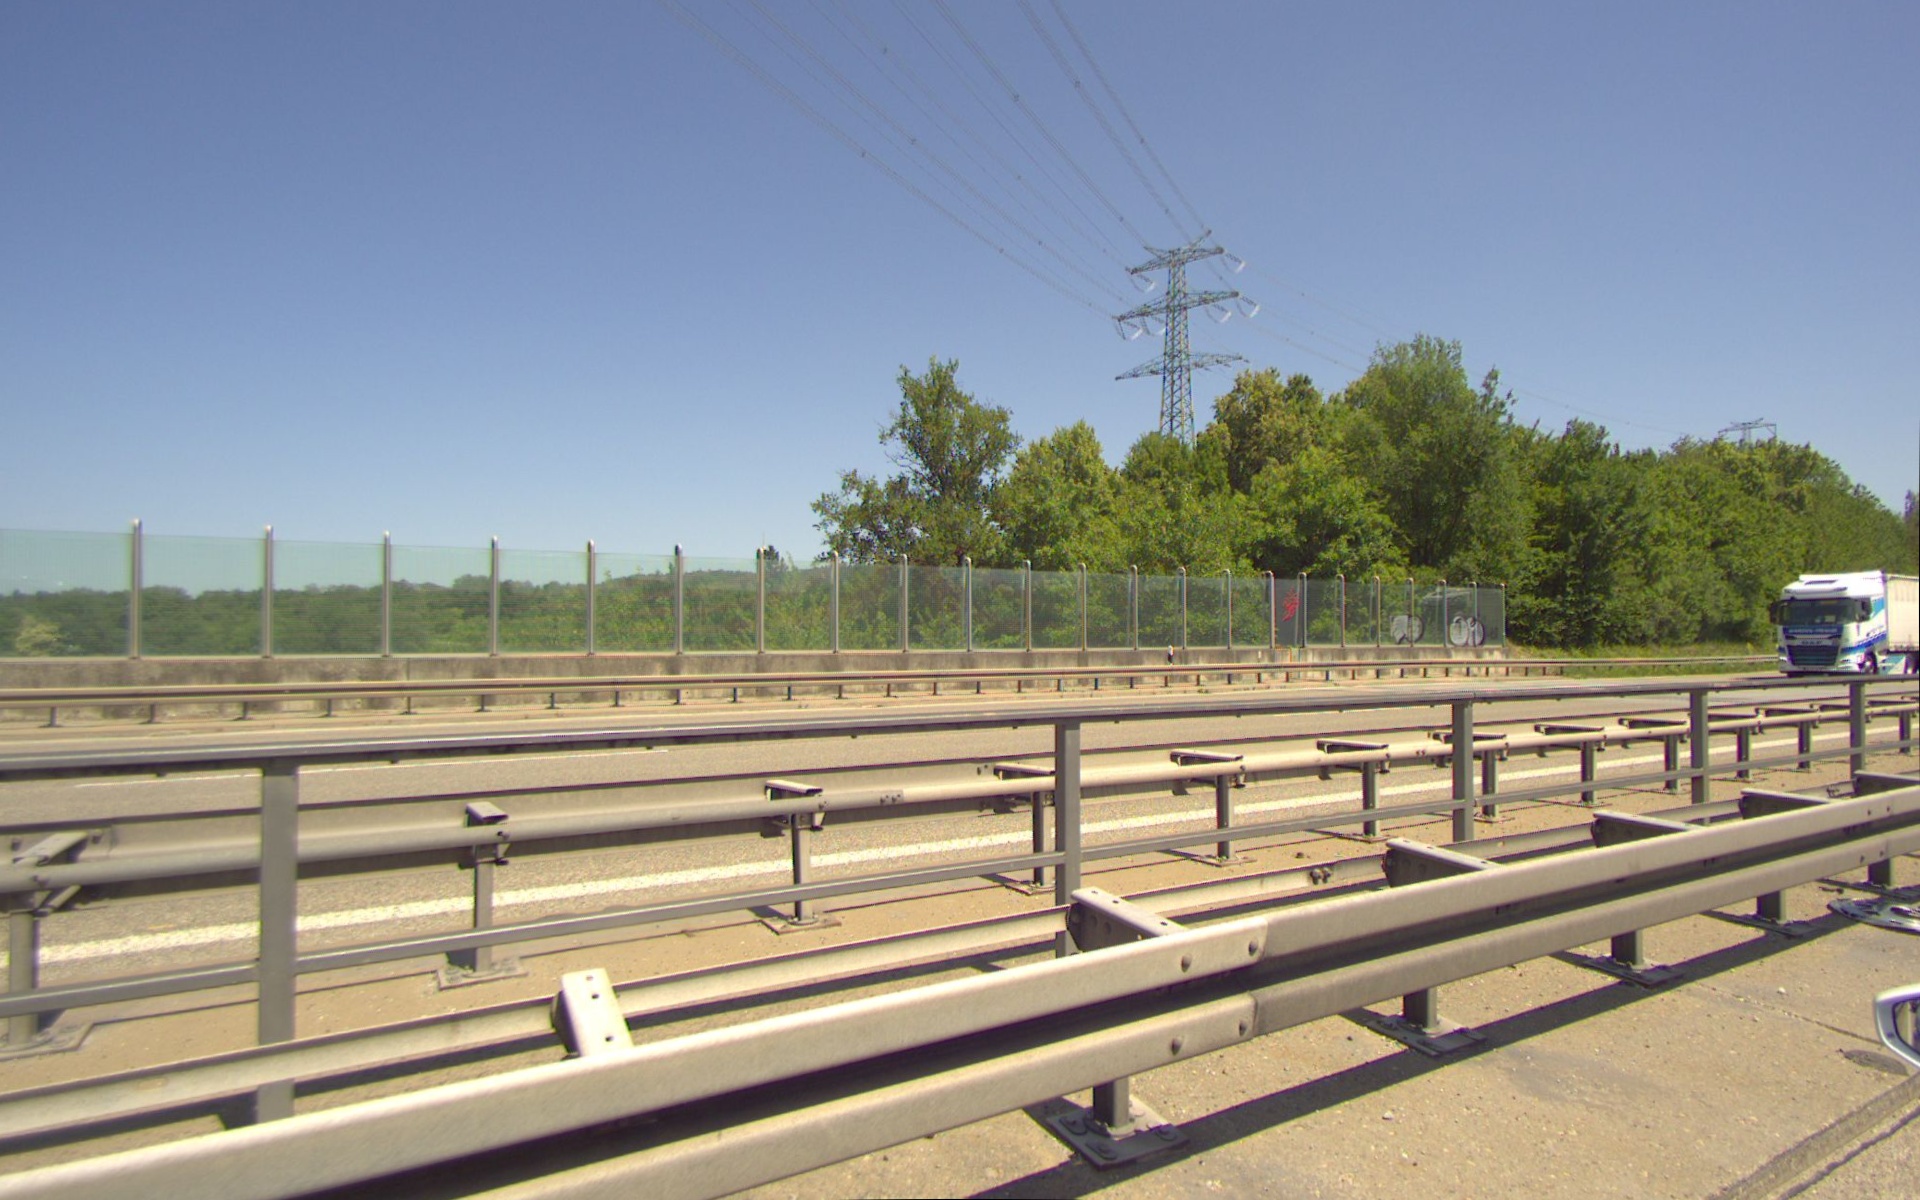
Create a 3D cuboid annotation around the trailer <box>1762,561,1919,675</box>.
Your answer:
[{"bbox_3d":[39.904,0.935,43.047,13.877,4.291,3.970,2,-3,-31],"label":"trailer"}]

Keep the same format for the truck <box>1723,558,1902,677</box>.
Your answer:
[{"bbox_3d":[33.107,0.747,39.051,4.803,4.284,3.986,2,-2,-31],"label":"truck"}]
